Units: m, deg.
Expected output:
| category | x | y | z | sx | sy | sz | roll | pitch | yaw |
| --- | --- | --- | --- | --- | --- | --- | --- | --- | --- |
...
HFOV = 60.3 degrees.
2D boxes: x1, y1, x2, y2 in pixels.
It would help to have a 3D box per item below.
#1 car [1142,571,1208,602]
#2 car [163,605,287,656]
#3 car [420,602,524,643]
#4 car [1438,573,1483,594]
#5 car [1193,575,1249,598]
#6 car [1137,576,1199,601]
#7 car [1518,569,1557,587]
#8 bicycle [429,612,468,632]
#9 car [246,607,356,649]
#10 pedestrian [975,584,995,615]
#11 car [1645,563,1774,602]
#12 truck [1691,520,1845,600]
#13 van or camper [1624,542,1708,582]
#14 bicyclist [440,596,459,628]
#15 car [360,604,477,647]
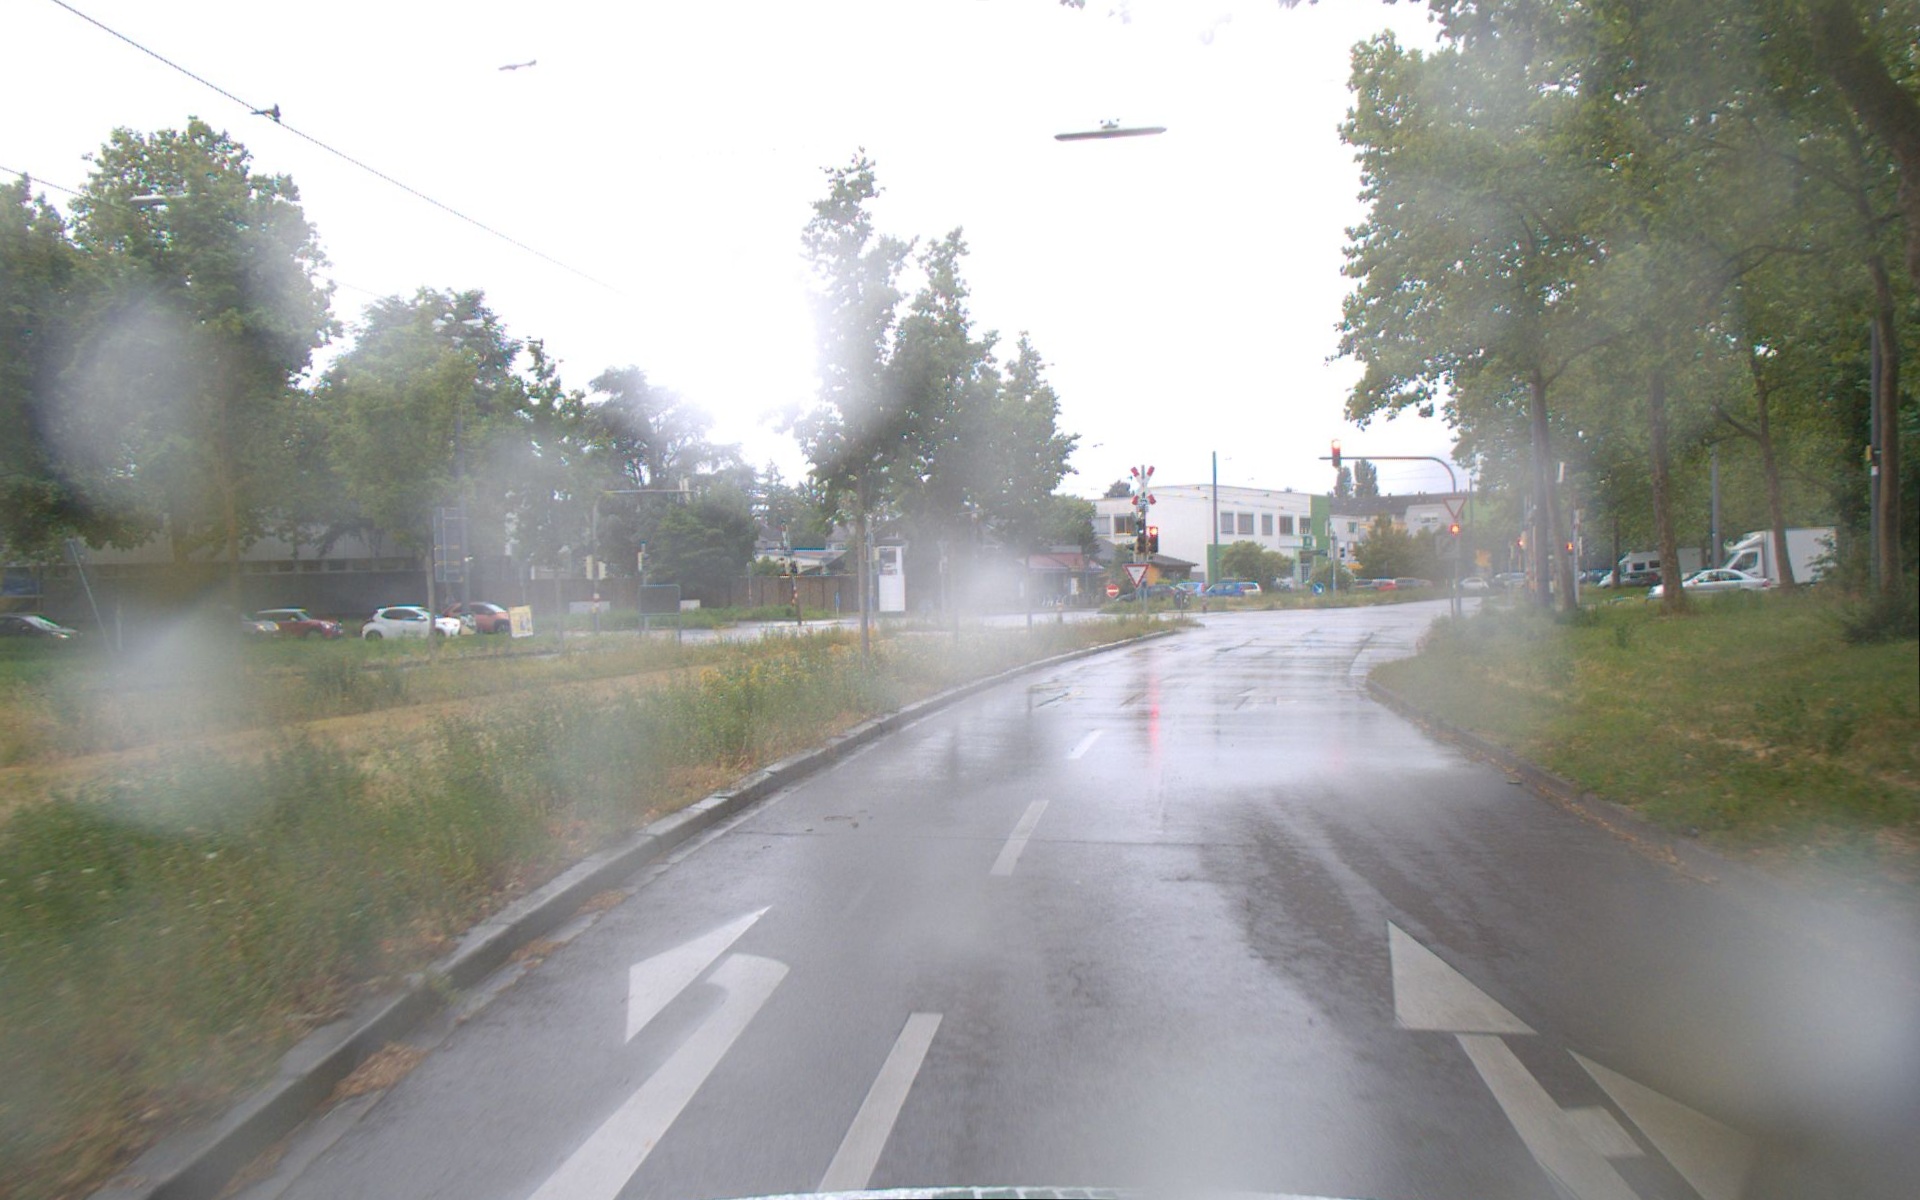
| category | x | y | z | sx | sy | sz | roll | pitch | yaw |
| --- | --- | --- | --- | --- | --- | --- | --- | --- | --- |
| car | 14.271 | -0.914 | 109.865 | 4.050 | 1.892 | 1.673 | -2 | 0 | 22 |
| car | -29.070 | 1.195 | 65.493 | 4.123 | 1.827 | 1.652 | -2 | 1 | 0 |
| car | -20.219 | 0.927 | 68.546 | 3.738 | 1.525 | 1.653 | -2 | 0 | 3 |
| car | 49.654 | -1.614 | 164.019 | 4.046 | 1.892 | 1.675 | -2 | 0 | 11 |
| car | 17.980 | -0.940 | 113.980 | 3.670 | 1.467 | 1.764 | -2 | 0 | 9 |
| car | 13.423 | -0.732 | 106.501 | 3.671 | 1.467 | 1.763 | -2 | 0 | 18 |
| car | 65.582 | -2.518 | 187.787 | 4.050 | 1.892 | 1.673 | -2 | 0 | 22 |
| bicycle | -27.726 | 1.197 | 89.725 | 1.916 | 0.983 | 0.642 | -2 | 0 | 11 |
| car | -27.381 | 1.156 | 68.770 | 3.827 | 1.525 | 1.652 | -2 | 1 | 0 |
| pedestrian | 1.448 | -0.038 | 97.027 | 0.792 | 1.794 | 0.900 | -2 | 0 | -30 |
| car | 29.919 | -0.684 | 66.120 | 4.416 | 1.414 | 1.646 | -2 | 0 | 12 |
| truck | 33.420 | -1.621 | 68.551 | 5.351 | 3.112 | 1.983 | -2 | 0 | 12 |
| van or camper | 49.229 | -2.644 | 115.330 | 5.128 | 2.744 | 2.237 | 1 | 2 | 34 |
| bicyclist | -27.689 | 0.658 | 89.715 | 0.669 | 1.712 | 0.642 | -2 | 0 | 11 |
| car | -21.210 | 0.995 | 64.858 | 3.980 | 1.525 | 1.653 | -2 | 0 | 3 |
